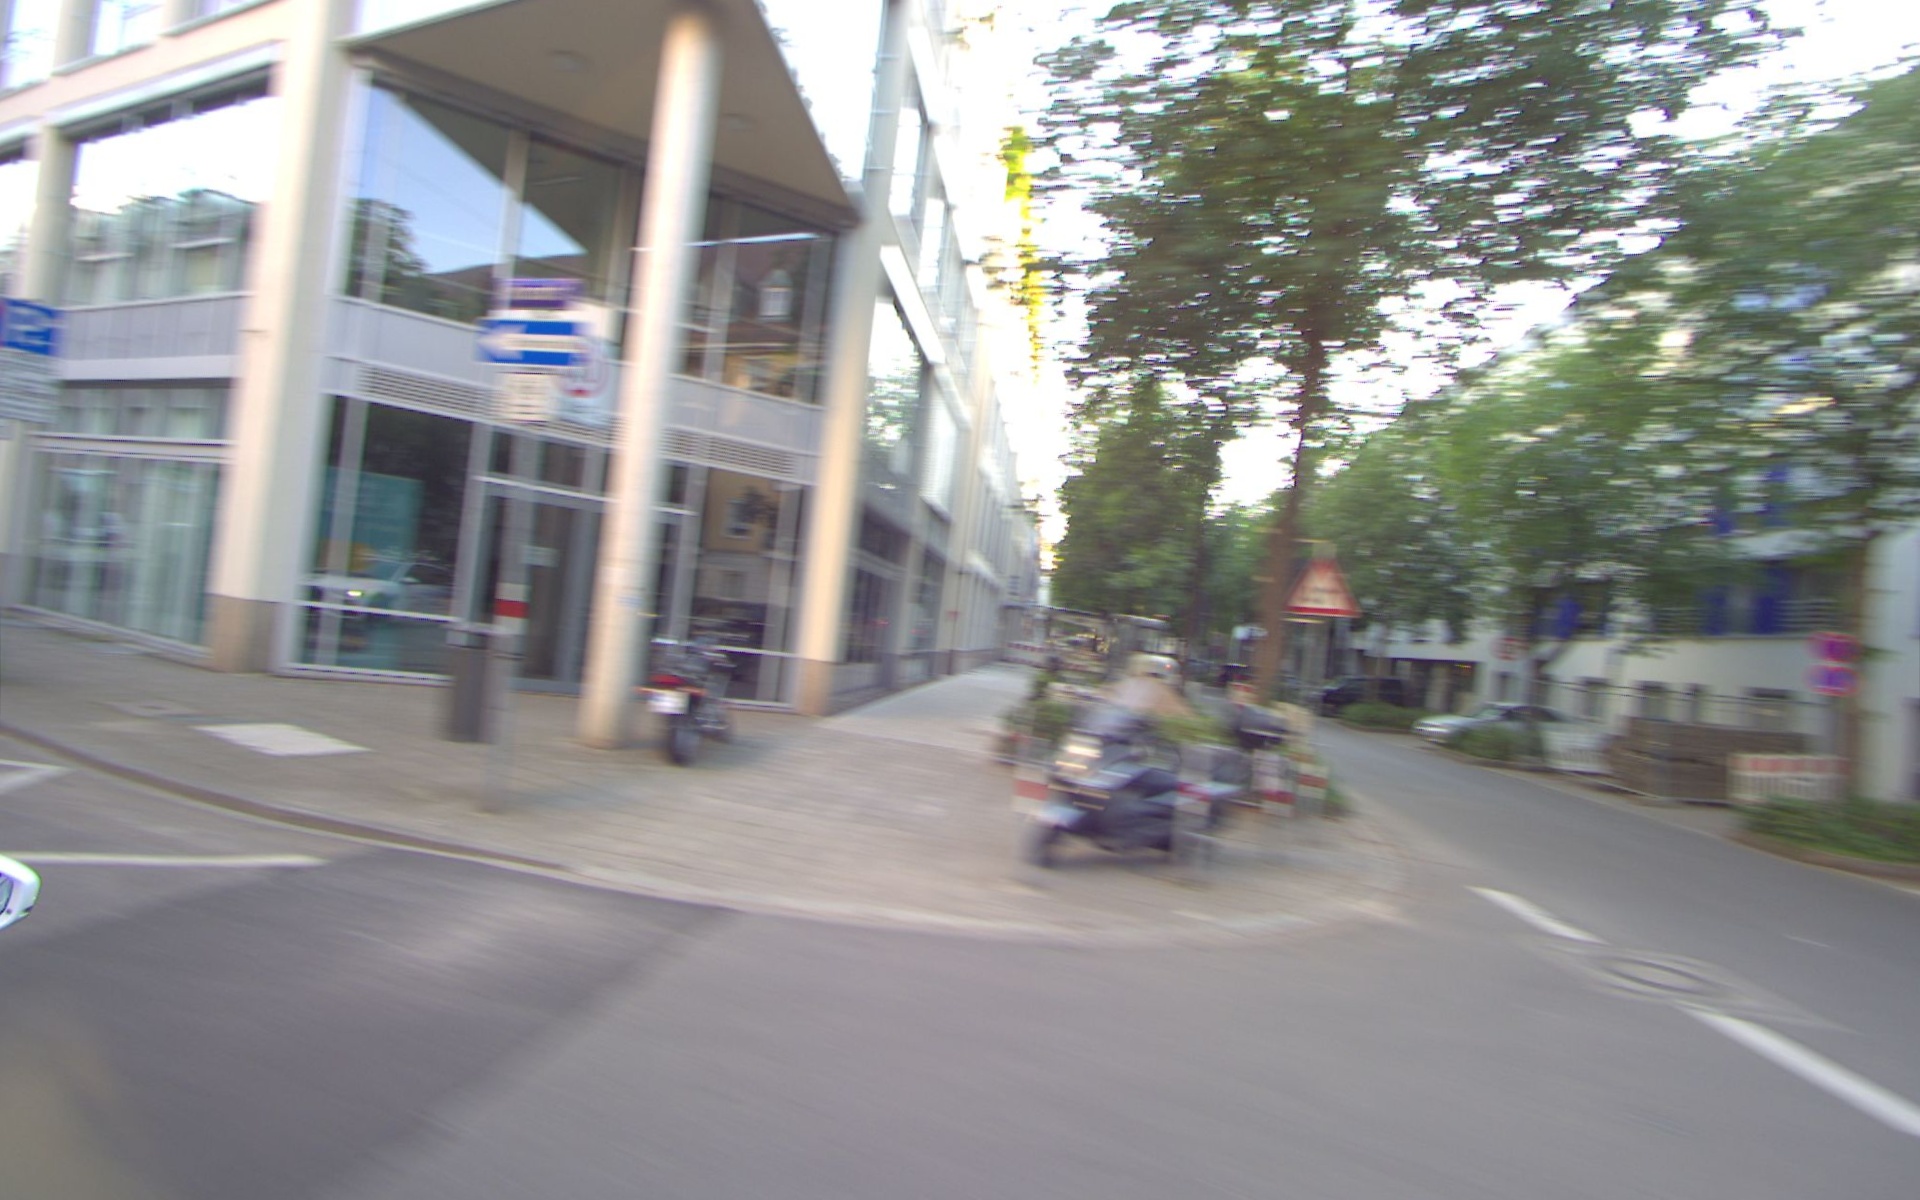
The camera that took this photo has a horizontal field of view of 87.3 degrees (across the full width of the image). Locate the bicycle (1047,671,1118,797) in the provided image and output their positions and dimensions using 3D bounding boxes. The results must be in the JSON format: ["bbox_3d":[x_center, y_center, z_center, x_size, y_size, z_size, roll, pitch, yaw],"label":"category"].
[{"bbox_3d":[1.320,1.410,11.031,0.591,1.131,1.801,7,-1,6],"label":"bicycle"}]

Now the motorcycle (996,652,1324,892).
[{"bbox_3d":[1.520,1.255,7.371,2.358,1.457,0.794,8,-1,-35],"label":"motorcycle"}]

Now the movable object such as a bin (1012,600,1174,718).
[{"bbox_3d":[3.256,1.459,25.296,3.608,2.360,2.585,7,-1,4],"label":"movable object such as a bin"}]

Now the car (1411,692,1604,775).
[{"bbox_3d":[15.321,3.719,28.343,4.366,1.610,1.631,7,-1,8],"label":"car"}]

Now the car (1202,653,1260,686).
[{"bbox_3d":[21.215,5.423,78.951,3.924,2.037,2.002,7,-1,5],"label":"car"}]

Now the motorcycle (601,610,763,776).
[{"bbox_3d":[-2.490,0.786,9.312,0.604,1.289,2.127,7,0,5],"label":"motorcycle"}]

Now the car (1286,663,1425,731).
[{"bbox_3d":[16.383,3.986,41.820,4.893,2.112,1.740,7,-1,6],"label":"car"}]

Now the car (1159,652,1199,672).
[{"bbox_3d":[24.359,6.863,111.880,3.925,1.616,2.001,8,-1,2],"label":"car"}]

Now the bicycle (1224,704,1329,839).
[{"bbox_3d":[3.353,1.780,10.806,0.591,1.131,1.801,7,-1,6],"label":"bicycle"}]
